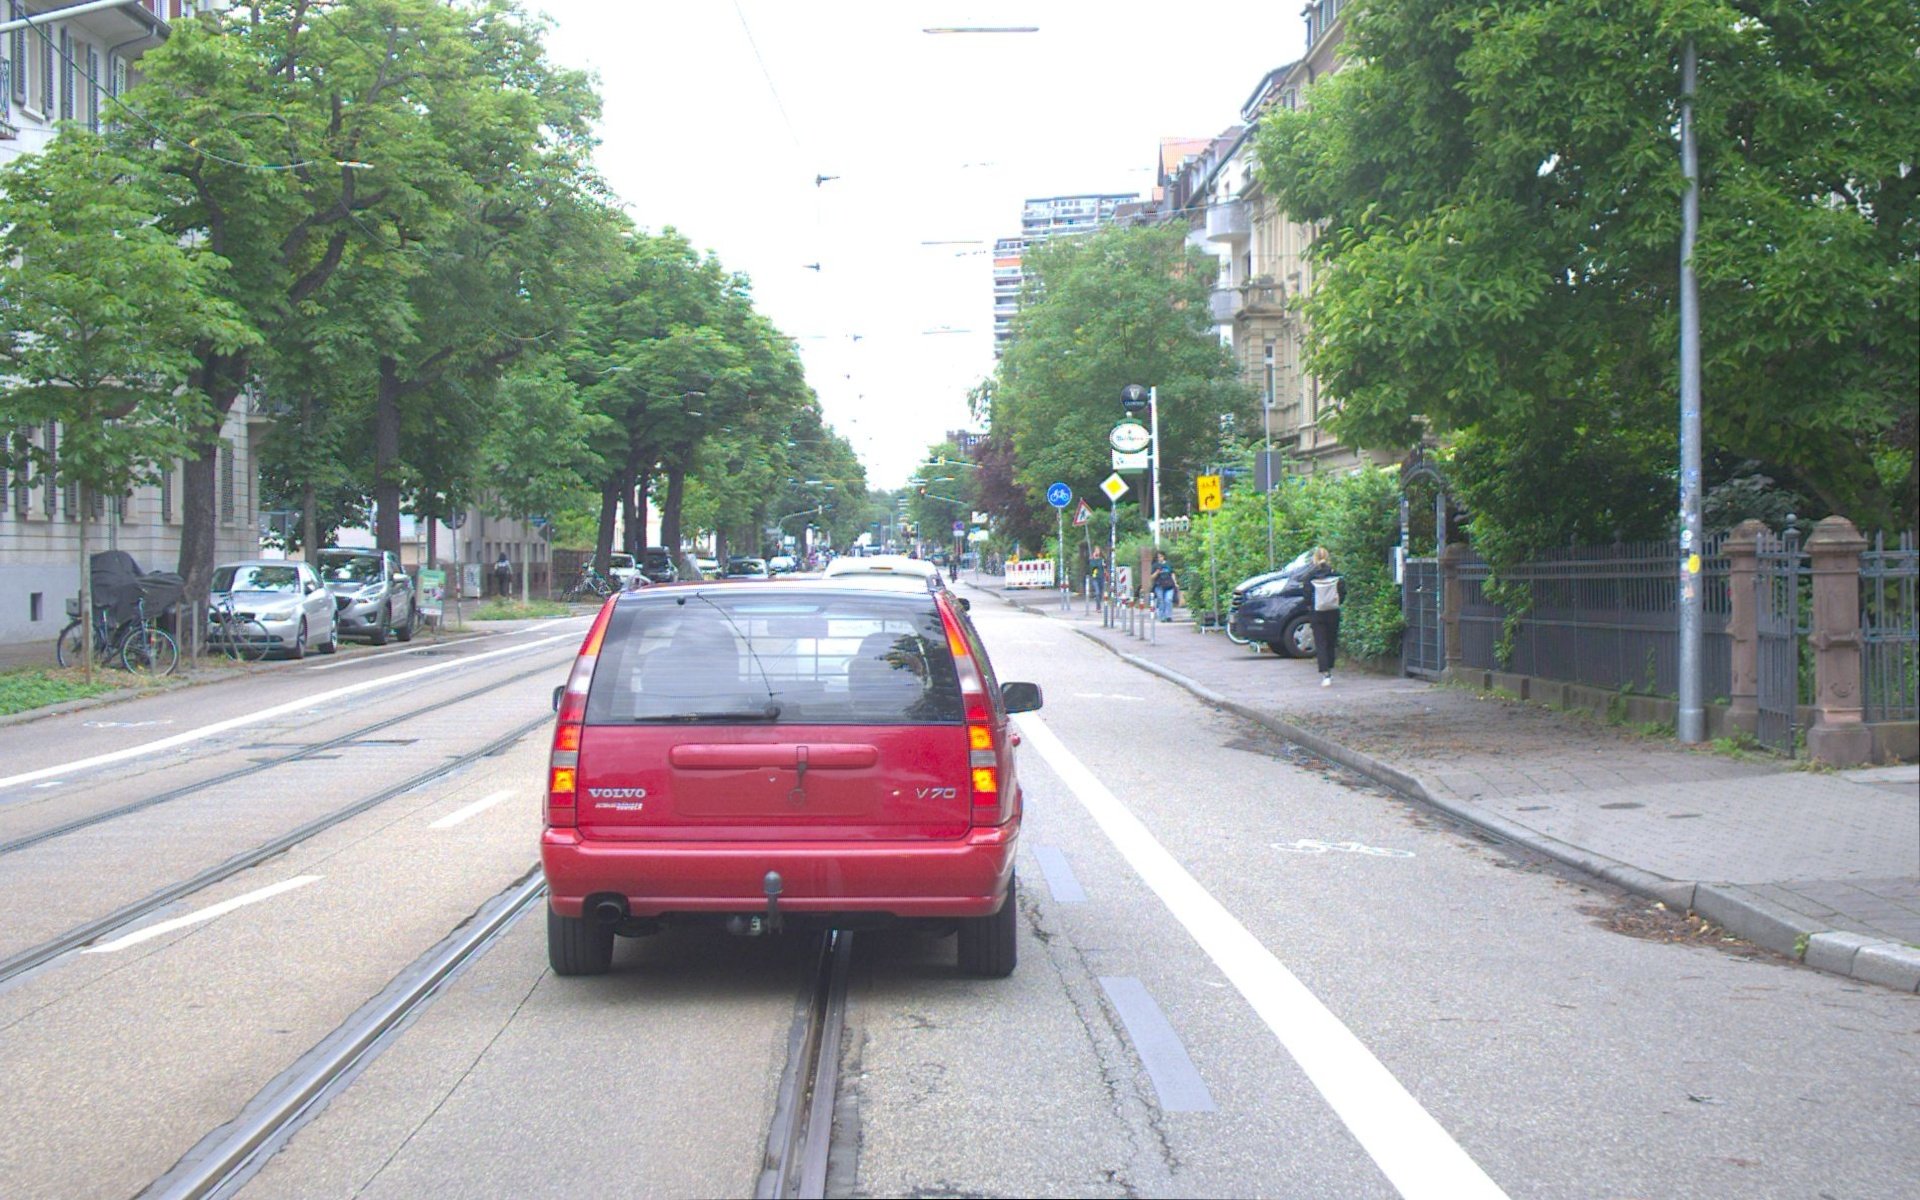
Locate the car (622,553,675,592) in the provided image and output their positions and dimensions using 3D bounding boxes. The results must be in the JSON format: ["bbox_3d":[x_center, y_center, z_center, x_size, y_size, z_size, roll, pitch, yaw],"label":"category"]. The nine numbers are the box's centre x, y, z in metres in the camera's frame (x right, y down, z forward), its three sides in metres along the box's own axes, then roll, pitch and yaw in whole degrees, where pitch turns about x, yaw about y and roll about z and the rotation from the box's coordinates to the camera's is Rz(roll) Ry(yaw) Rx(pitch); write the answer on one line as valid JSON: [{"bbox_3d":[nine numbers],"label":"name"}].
[{"bbox_3d":[-12.471,-1.103,137.897,1.777,1.505,4.238,0,1,0],"label":"car"}]

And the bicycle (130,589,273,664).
[{"bbox_3d":[-10.687,0.365,48.476,1.894,1.023,0.564,1,0,-5],"label":"bicycle"}]

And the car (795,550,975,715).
[{"bbox_3d":[-0.727,0.301,35.706,1.719,1.619,3.941,0,0,1],"label":"car"}]

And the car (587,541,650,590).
[{"bbox_3d":[-11.818,-1.189,119.244,1.897,1.650,4.226,0,1,-2],"label":"car"}]

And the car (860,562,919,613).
[{"bbox_3d":[-2.280,-0.424,110.158,1.741,1.600,4.000,0,0,-3],"label":"car"}]

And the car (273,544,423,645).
[{"bbox_3d":[-10.745,-0.124,60.588,1.837,1.655,4.293,2,1,0],"label":"car"}]

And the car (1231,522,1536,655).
[{"bbox_3d":[6.284,-0.180,51.345,4.280,1.803,1.823,-2,1,1],"label":"car"}]

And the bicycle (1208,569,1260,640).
[{"bbox_3d":[4.598,0.069,57.758,0.632,1.124,1.812,-3,1,-2],"label":"bicycle"}]

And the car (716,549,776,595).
[{"bbox_3d":[-6.744,-0.887,108.627,1.729,1.404,3.656,-1,1,-1],"label":"car"}]

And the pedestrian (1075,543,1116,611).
[{"bbox_3d":[3.335,-0.568,84.648,0.873,1.650,0.908,0,1,12],"label":"pedestrian"}]

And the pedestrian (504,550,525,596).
[{"bbox_3d":[-14.197,-0.856,109.589,0.564,1.462,0.723,-1,0,-1],"label":"pedestrian"}]

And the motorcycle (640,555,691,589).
[{"bbox_3d":[-13.664,-1.291,159.611,2.269,1.506,0.925,0,-1,34],"label":"motorcycle"}]

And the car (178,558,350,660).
[{"bbox_3d":[-10.510,0.101,52.177,1.811,1.461,4.614,0,1,-2],"label":"car"}]

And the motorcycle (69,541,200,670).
[{"bbox_3d":[-10.774,0.052,44.954,0.833,1.637,2.479,-1,1,7],"label":"motorcycle"}]

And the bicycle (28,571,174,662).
[{"bbox_3d":[-10.718,0.205,42.912,1.743,1.125,0.517,0,1,17],"label":"bicycle"}]

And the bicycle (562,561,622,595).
[{"bbox_3d":[-12.301,-0.734,114.999,1.922,1.117,0.624,1,0,-1],"label":"bicycle"}]

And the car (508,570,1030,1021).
[{"bbox_3d":[-0.634,0.622,13.100,1.689,1.436,3.743,-1,1,0],"label":"car"}]

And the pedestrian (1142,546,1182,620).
[{"bbox_3d":[4.535,-0.378,77.166,0.793,1.630,0.836,-2,0,-1],"label":"pedestrian"}]

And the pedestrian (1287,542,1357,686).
[{"bbox_3d":[4.325,0.163,41.101,0.623,1.665,0.960,-3,1,-2],"label":"pedestrian"}]
